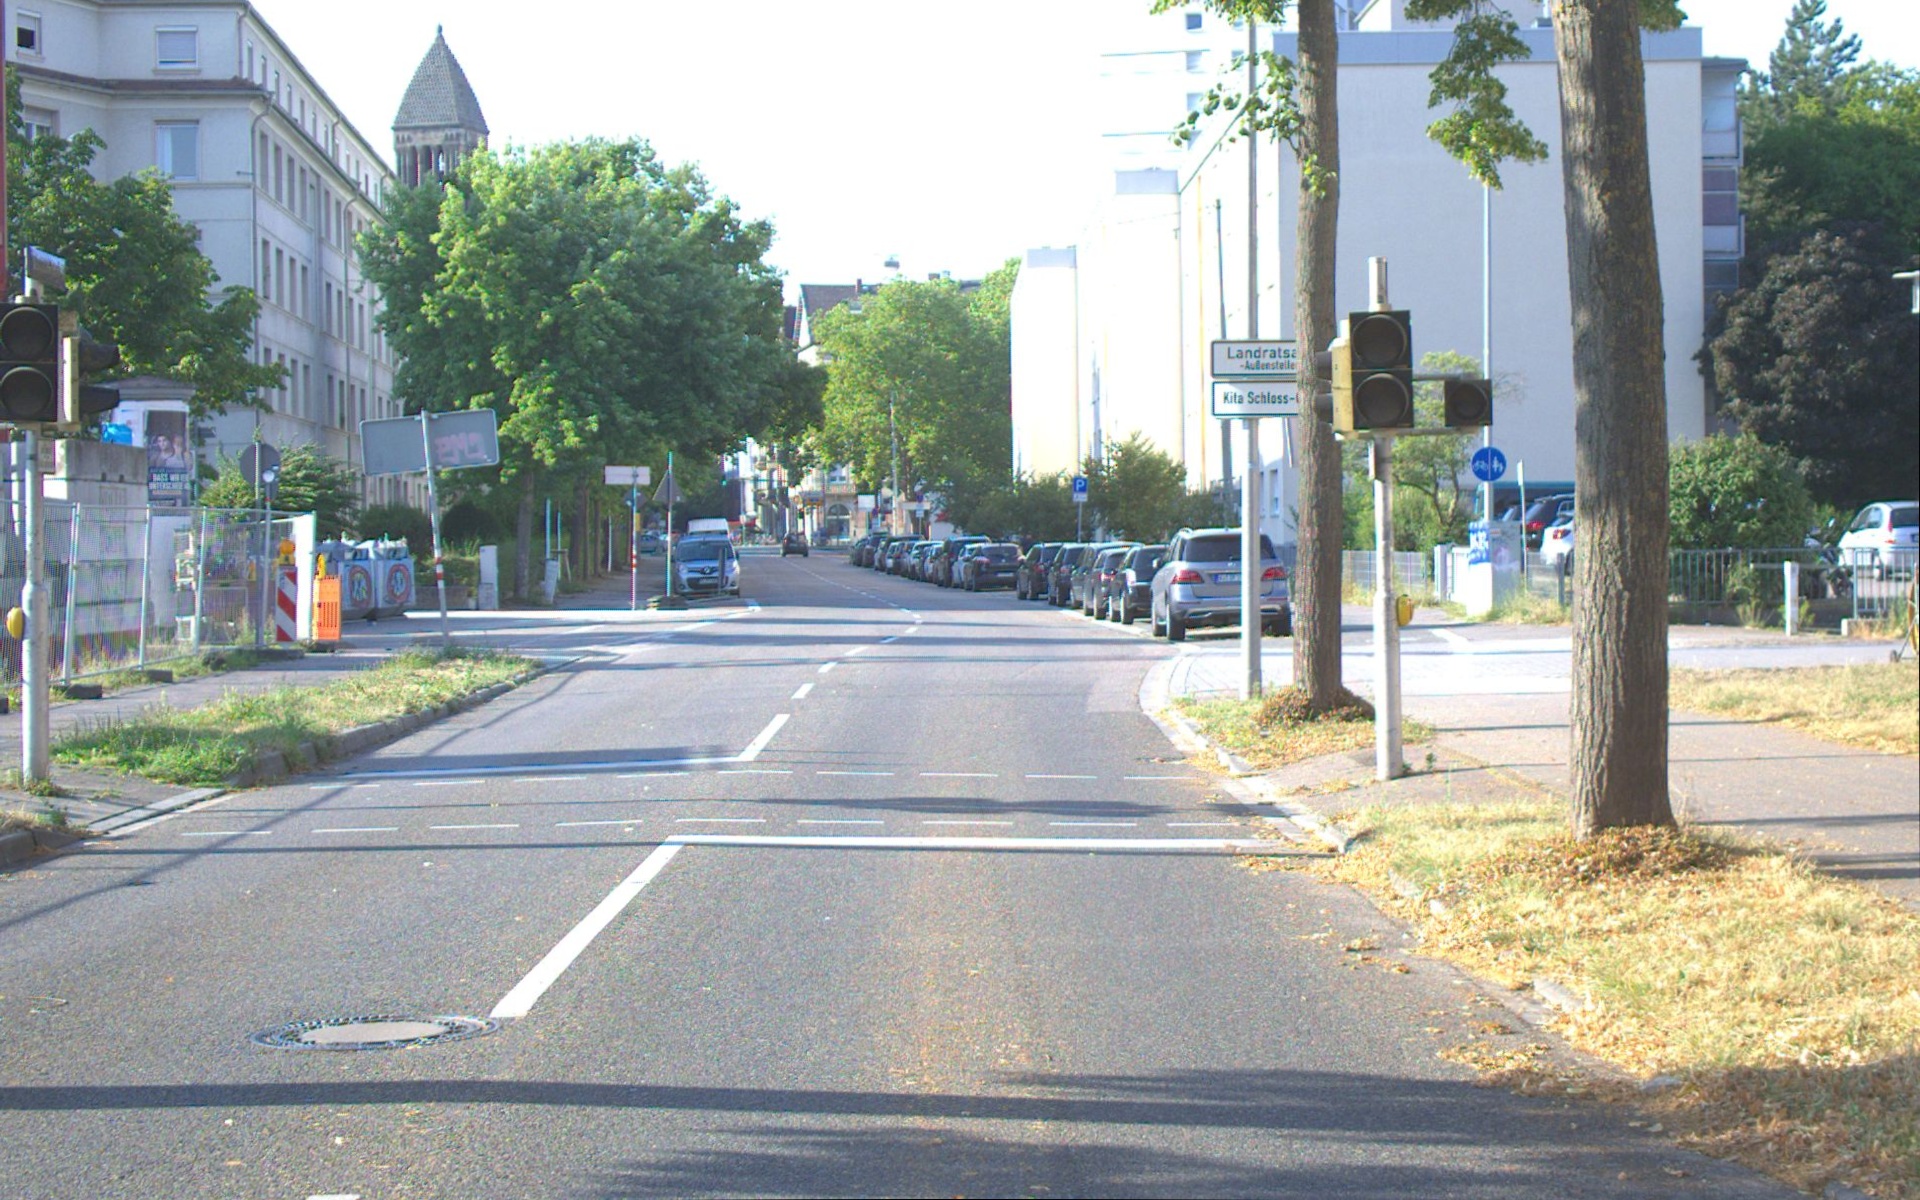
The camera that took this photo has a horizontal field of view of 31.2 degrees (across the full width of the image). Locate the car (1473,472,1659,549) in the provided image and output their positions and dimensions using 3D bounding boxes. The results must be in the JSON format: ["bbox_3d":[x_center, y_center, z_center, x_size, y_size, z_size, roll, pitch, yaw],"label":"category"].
[{"bbox_3d":[14.009,-2.068,79.611,3.987,1.722,1.773,1,1,1],"label":"car"}]

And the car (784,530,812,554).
[{"bbox_3d":[-10.768,-3.847,228.676,1.714,1.481,4.001,-2,1,-4],"label":"car"}]

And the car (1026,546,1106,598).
[{"bbox_3d":[2.708,-0.732,88.601,1.841,1.256,4.000,-2,1,-1],"label":"car"}]

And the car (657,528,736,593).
[{"bbox_3d":[-7.160,-1.076,93.222,1.993,1.682,4.001,-1,1,-6],"label":"car"}]

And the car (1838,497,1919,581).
[{"bbox_3d":[18.348,-1.159,66.660,1.812,1.554,3.625,1,0,2],"label":"car"}]

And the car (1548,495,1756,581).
[{"bbox_3d":[14.178,-1.268,70.631,3.988,1.678,2.000,1,0,6],"label":"car"}]

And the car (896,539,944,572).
[{"bbox_3d":[-1.761,-1.942,150.682,1.841,1.381,4.001,-2,1,-4],"label":"car"}]

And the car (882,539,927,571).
[{"bbox_3d":[-2.532,-2.053,157.236,1.841,1.381,4.001,-2,1,-4],"label":"car"}]

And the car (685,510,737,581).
[{"bbox_3d":[-11.546,-2.503,159.236,2.185,3.120,4.986,-3,1,-4],"label":"car"}]

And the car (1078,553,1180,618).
[{"bbox_3d":[3.488,-0.321,71.561,1.841,1.256,4.000,-2,1,-1],"label":"car"}]

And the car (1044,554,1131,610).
[{"bbox_3d":[3.005,-0.440,81.931,1.841,1.256,4.000,-2,1,-1],"label":"car"}]

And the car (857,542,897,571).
[{"bbox_3d":[-4.355,-2.273,180.076,1.841,1.381,4.001,-4,1,-4],"label":"car"}]

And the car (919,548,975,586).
[{"bbox_3d":[-0.518,-1.254,130.102,1.841,1.381,4.001,-2,1,-4],"label":"car"}]

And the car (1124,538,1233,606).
[{"bbox_3d":[4.172,-0.551,66.134,1.779,1.223,4.000,-2,1,-1],"label":"car"}]

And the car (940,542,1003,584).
[{"bbox_3d":[0.380,-1.266,117.741,1.841,1.381,4.001,-2,1,-4],"label":"car"}]

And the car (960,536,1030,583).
[{"bbox_3d":[1.072,-1.277,107.001,1.841,1.381,4.001,-2,1,-4],"label":"car"}]

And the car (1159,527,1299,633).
[{"bbox_3d":[4.247,-0.339,54.825,1.841,1.568,4.000,-2,1,-1],"label":"car"}]
